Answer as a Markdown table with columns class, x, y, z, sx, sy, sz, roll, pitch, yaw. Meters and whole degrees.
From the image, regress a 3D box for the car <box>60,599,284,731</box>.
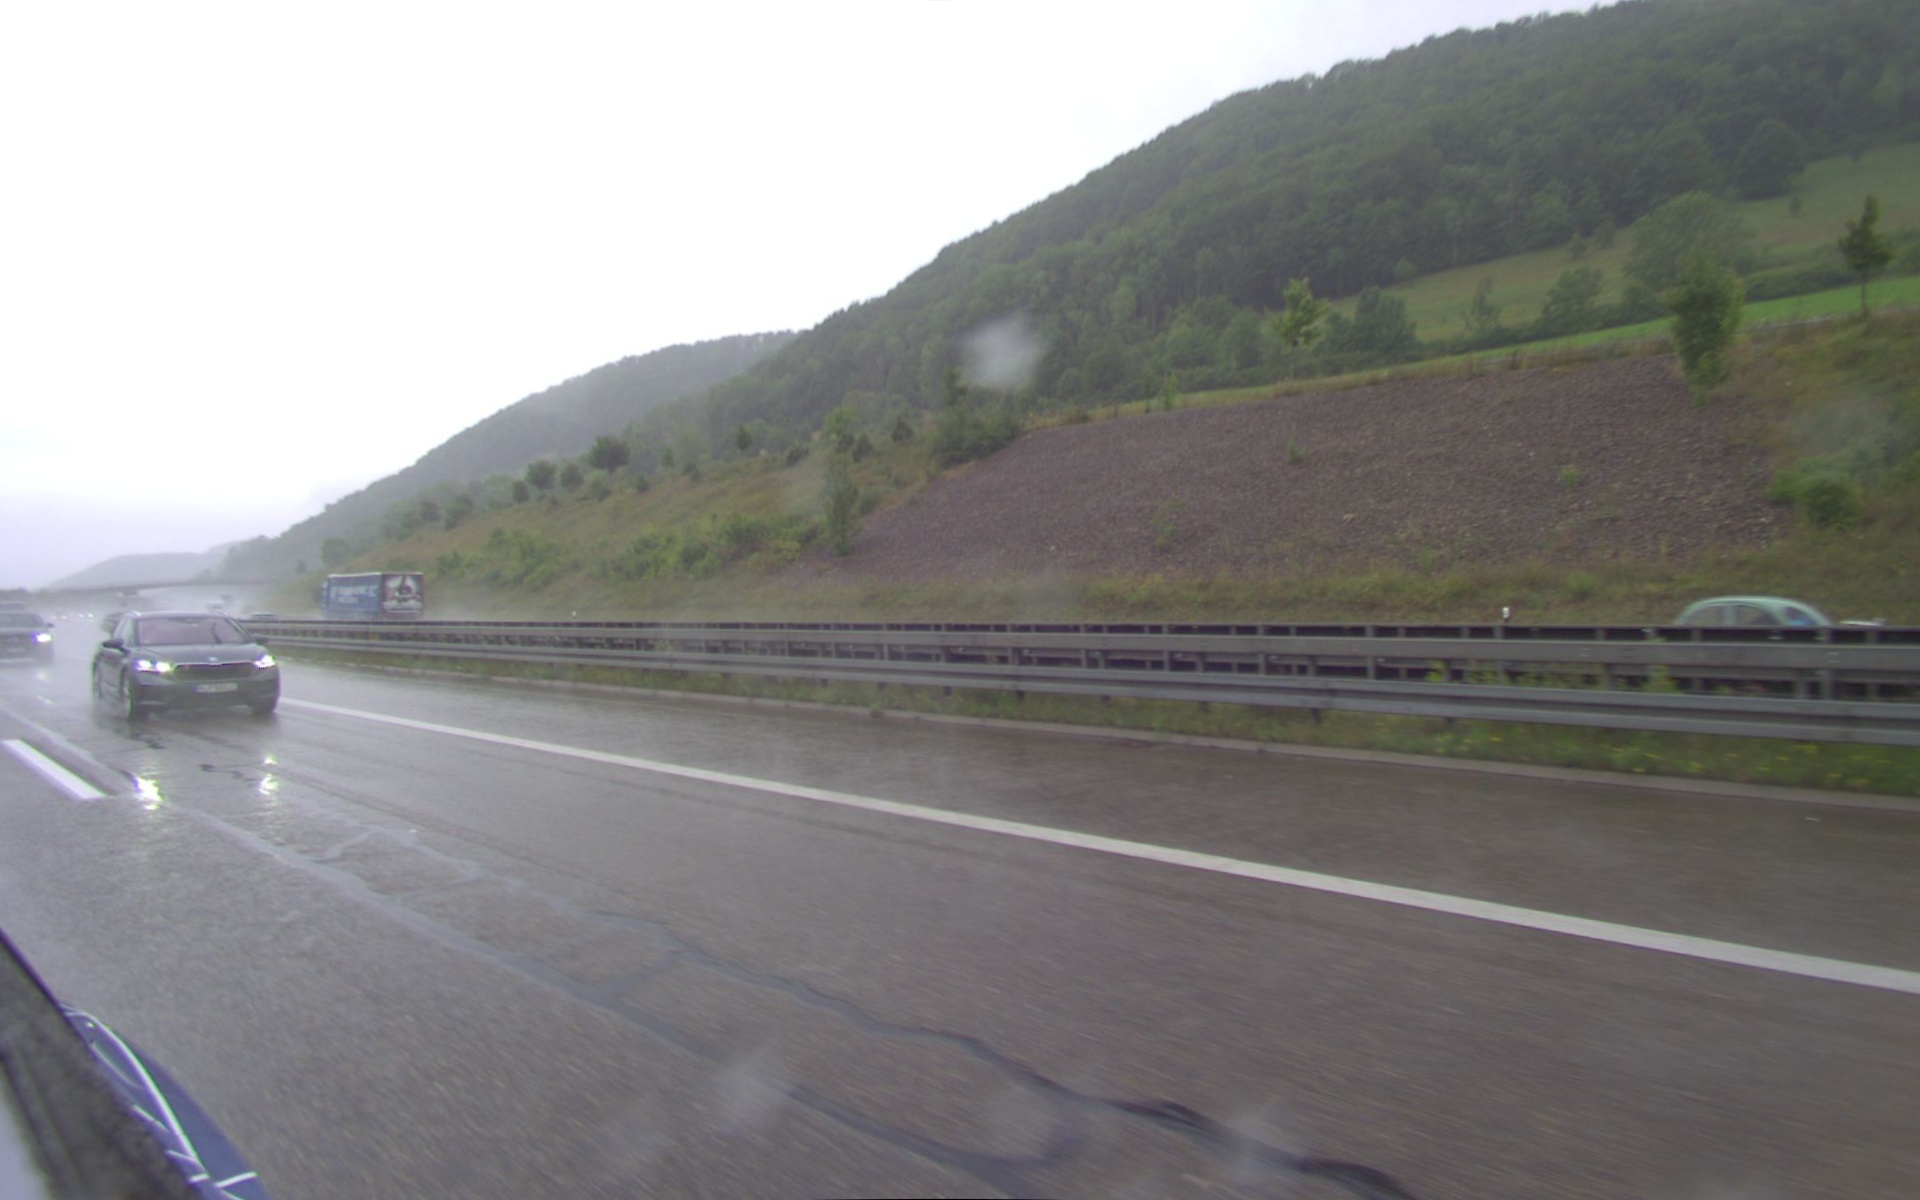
| class | x | y | z | sx | sy | sz | roll | pitch | yaw |
| --- | --- | --- | --- | --- | --- | --- | --- | --- | --- |
| car | -12.488 | 0.884 | 15.911 | 4.909 | 1.696 | 1.972 | -1 | 2 | 43 |

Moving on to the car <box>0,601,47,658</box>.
| class | x | y | z | sx | sy | sz | roll | pitch | yaw |
| --- | --- | --- | --- | --- | --- | --- | --- | --- | --- |
| car | -30.950 | 0.937 | 32.936 | 1.788 | 1.715 | 3.753 | -2 | 1 | -42 |

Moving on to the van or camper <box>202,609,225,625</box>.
| class | x | y | z | sx | sy | sz | roll | pitch | yaw |
| --- | --- | --- | --- | --- | --- | --- | --- | --- | --- |
| van or camper | -126.044 | 2.794 | 170.819 | 2.316 | 2.583 | 7.214 | -1 | 0 | -42 |

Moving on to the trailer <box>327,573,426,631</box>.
| class | x | y | z | sx | sy | sz | roll | pitch | yaw |
| --- | --- | --- | --- | --- | --- | --- | --- | --- | --- |
| trailer | -40.724 | 0.193 | 70.334 | 2.780 | 3.709 | 13.256 | 0 | -1 | -44 |

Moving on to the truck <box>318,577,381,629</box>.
| class | x | y | z | sx | sy | sz | roll | pitch | yaw |
| --- | --- | --- | --- | --- | --- | --- | --- | --- | --- |
| truck | -45.479 | 0.251 | 75.263 | 2.747 | 3.711 | 6.213 | 0 | -1 | -43 |

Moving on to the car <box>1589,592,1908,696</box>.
| class | x | y | z | sx | sy | sz | roll | pitch | yaw |
| --- | --- | --- | --- | --- | --- | --- | --- | --- | --- |
| car | 12.255 | 0.637 | 15.917 | 3.774 | 1.431 | 1.775 | -1 | -1 | 41 |
